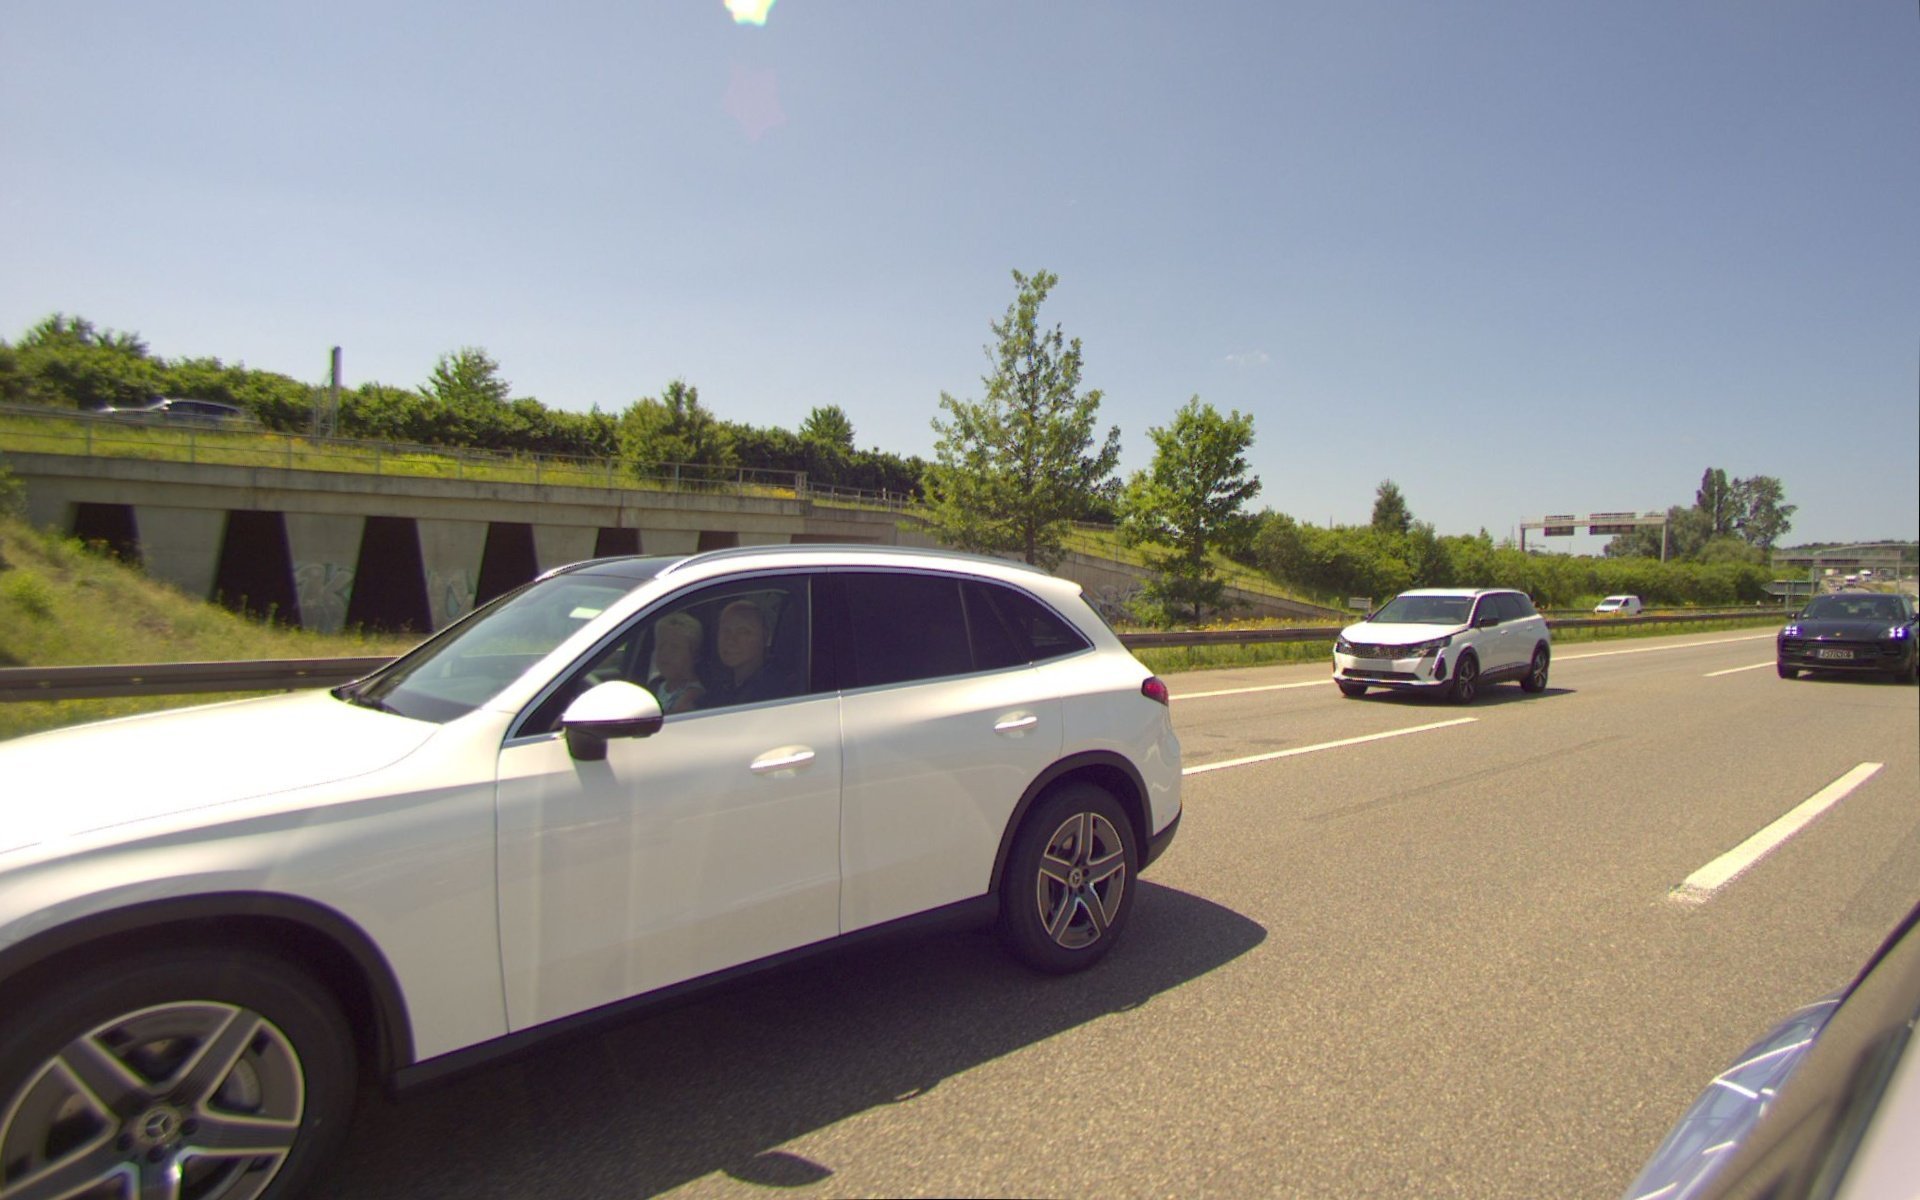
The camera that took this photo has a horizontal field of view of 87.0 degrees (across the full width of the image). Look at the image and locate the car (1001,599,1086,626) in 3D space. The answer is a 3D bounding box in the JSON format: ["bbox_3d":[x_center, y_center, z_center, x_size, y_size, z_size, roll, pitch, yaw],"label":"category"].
[{"bbox_3d":[4.272,0.601,51.762,3.995,1.296,1.902,0,0,-29],"label":"car"}]

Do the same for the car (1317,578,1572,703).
[{"bbox_3d":[7.557,0.518,15.574,4.536,1.650,1.897,0,1,-41],"label":"car"}]

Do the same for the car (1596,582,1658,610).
[{"bbox_3d":[51.470,-0.300,78.134,4.667,2.039,2.003,0,1,-28],"label":"car"}]

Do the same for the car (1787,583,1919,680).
[{"bbox_3d":[17.424,0.508,19.288,4.539,1.650,1.980,0,1,-43],"label":"car"}]

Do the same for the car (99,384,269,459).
[{"bbox_3d":[-26.604,-6.061,34.778,4.452,1.830,1.995,-1,0,-43],"label":"car"}]

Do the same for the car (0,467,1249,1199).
[{"bbox_3d":[-1.040,0.569,3.774,4.555,1.676,1.908,-1,1,-41],"label":"car"}]

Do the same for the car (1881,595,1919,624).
[{"bbox_3d":[51.763,0.480,55.503,1.748,1.489,3.936,1,1,44],"label":"car"}]
